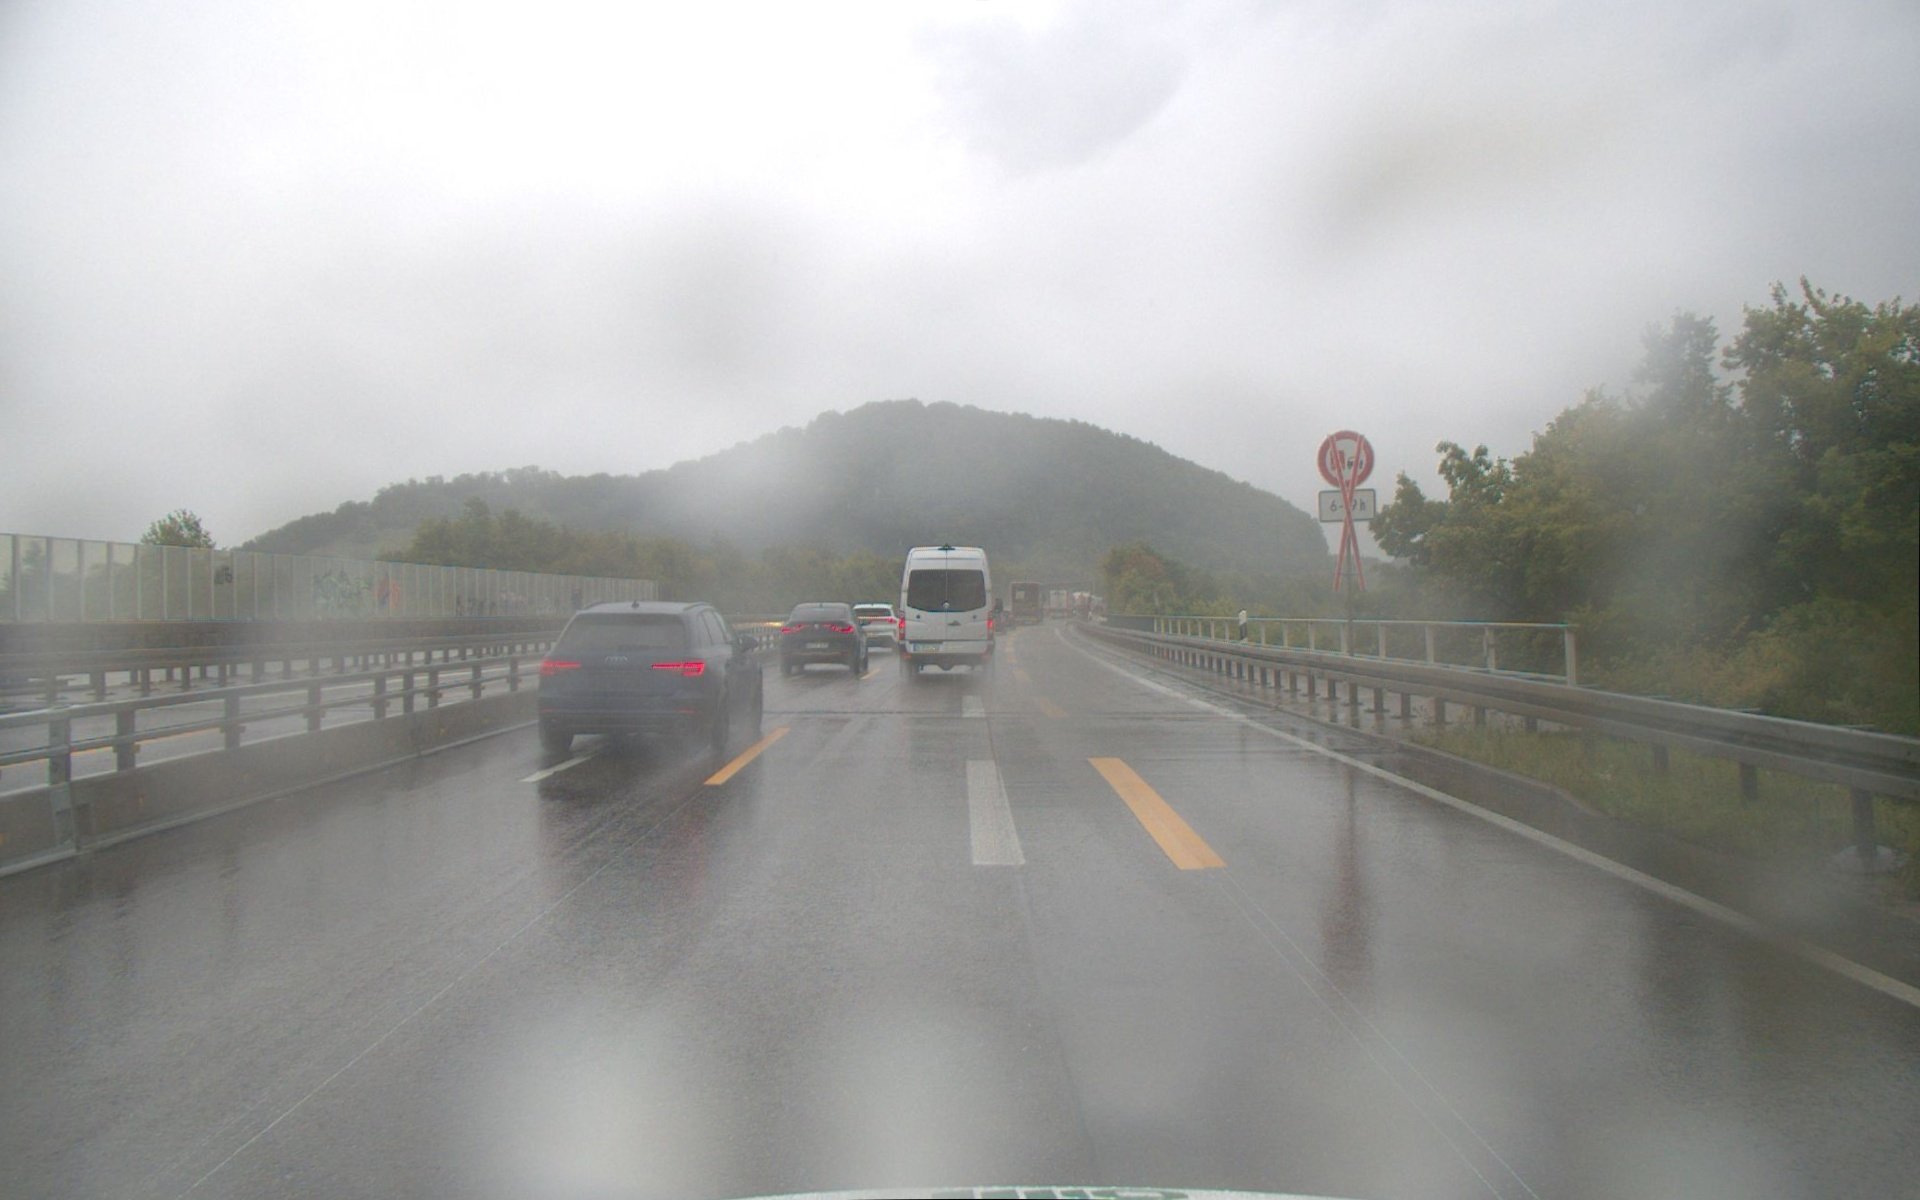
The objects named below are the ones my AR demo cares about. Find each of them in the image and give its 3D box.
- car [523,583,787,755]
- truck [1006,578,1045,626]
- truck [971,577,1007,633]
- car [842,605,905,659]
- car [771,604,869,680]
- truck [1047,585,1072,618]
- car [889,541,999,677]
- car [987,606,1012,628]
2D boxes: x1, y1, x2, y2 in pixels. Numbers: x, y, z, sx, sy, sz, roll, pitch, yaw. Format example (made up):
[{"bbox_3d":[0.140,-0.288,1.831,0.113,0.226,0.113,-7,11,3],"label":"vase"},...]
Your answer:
[{"bbox_3d":[-2.995,0.652,17.253,1.953,1.524,4.629,1,-1,-1],"label":"car"},{"bbox_3d":[6.434,0.270,161.622,3.506,4.484,9.628,1,-1,4],"label":"truck"},{"bbox_3d":[1.683,0.338,99.238,1.953,3.164,8.497,1,-1,0],"label":"truck"},{"bbox_3d":[-2.848,1.039,54.201,1.954,1.646,4.793,1,-1,-3],"label":"car"},{"bbox_3d":[-3.134,0.941,37.943,1.953,1.613,4.412,1,-1,-2],"label":"car"},{"bbox_3d":[14.060,0.265,233.199,2.972,4.484,9.629,1,-1,6],"label":"truck"},{"bbox_3d":[-0.339,0.208,34.932,2.101,2.616,5.388,1,-1,-1],"label":"car"},{"bbox_3d":[2.836,1.213,118.515,1.737,1.501,4.001,1,-1,2],"label":"car"}]
